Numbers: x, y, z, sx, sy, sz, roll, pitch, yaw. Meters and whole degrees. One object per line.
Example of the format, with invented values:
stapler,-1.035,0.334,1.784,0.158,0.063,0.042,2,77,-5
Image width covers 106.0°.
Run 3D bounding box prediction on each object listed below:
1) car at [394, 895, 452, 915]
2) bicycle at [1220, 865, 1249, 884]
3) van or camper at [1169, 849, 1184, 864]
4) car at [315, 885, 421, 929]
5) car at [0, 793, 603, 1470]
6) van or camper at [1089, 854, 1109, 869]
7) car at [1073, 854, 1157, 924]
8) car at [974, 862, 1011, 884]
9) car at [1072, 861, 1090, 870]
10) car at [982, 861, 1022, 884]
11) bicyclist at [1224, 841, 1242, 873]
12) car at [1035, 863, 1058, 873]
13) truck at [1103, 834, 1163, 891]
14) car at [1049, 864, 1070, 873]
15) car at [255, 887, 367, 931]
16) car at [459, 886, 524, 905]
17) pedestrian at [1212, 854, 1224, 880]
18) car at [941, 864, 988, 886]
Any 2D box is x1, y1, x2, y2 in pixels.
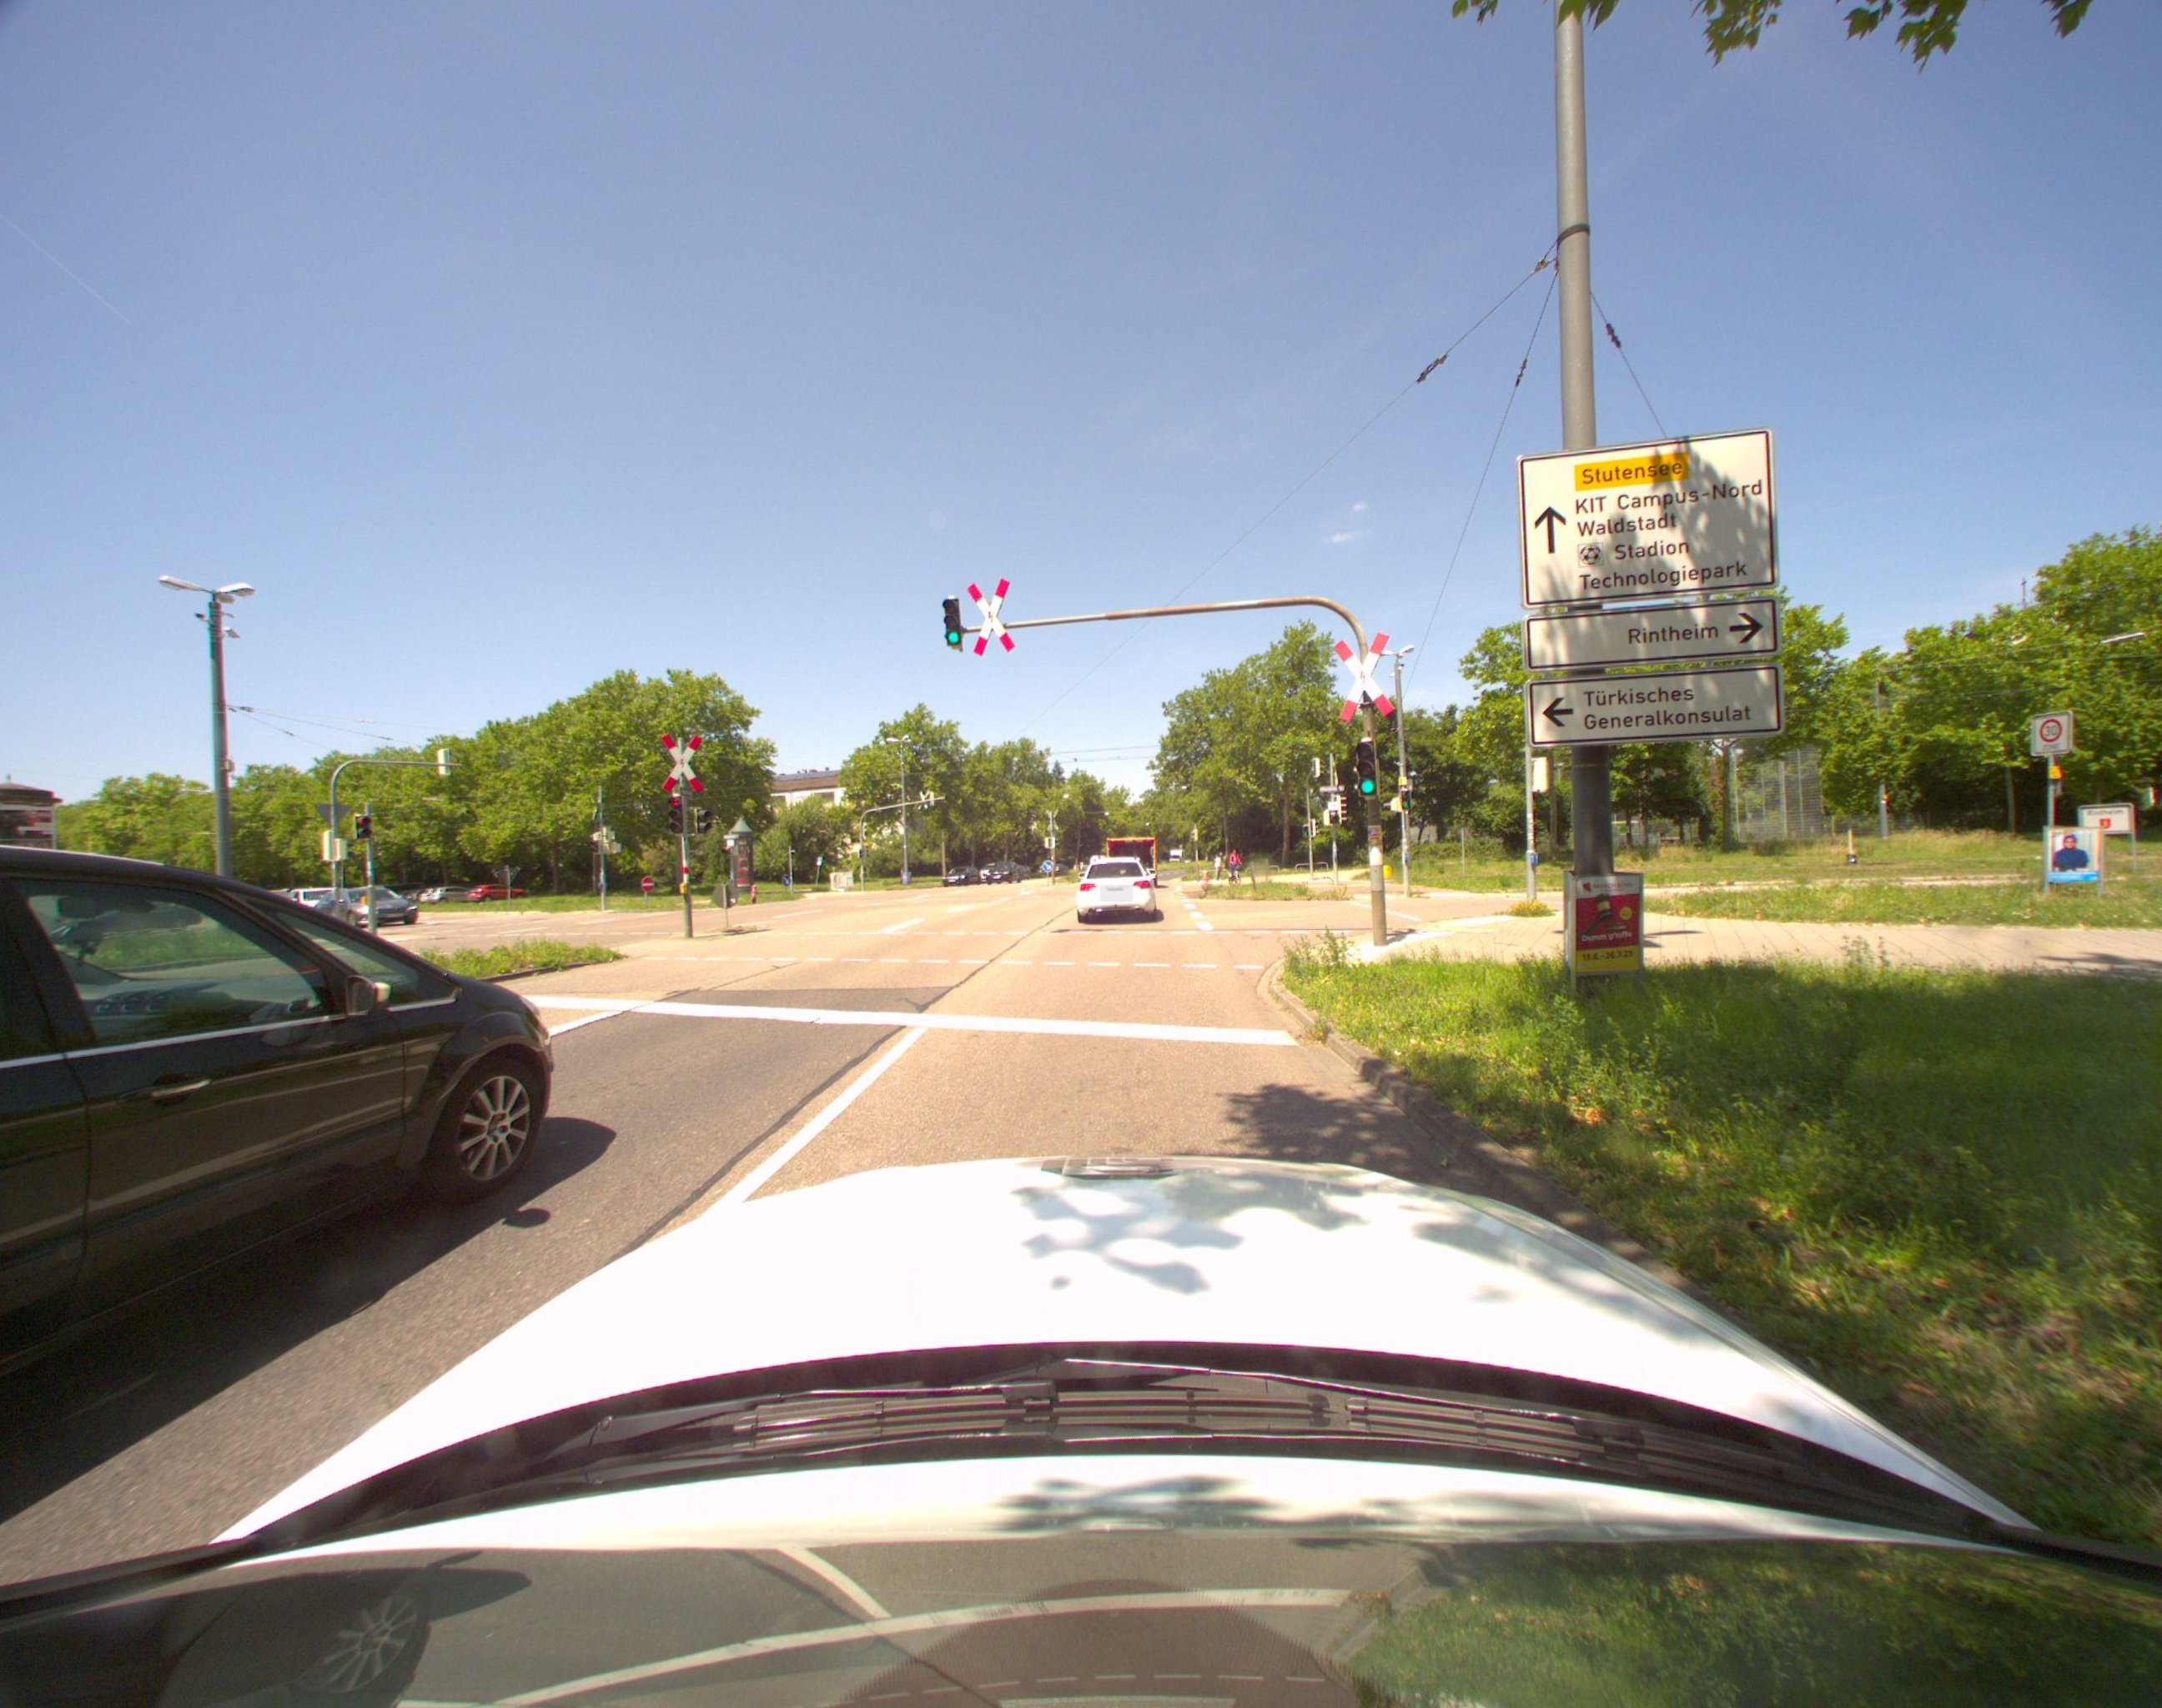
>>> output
car,-56.506,4.360,70.020,1.481,1.397,3.571,-3,0,26
bicycle,7.562,1.004,40.167,0.589,0.895,1.799,-2,-1,-19
van or camper,22.213,0.494,188.916,2.642,3.331,5.520,-2,-1,13
car,-26.377,1.940,30.106,3.941,1.457,1.776,-3,-1,31
car,-3.738,0.745,2.321,1.847,1.755,4.650,-2,0,2
van or camper,3.368,1.306,150.959,2.164,2.587,5.335,-3,-1,20
car,0.816,0.739,18.978,1.755,1.445,3.619,-1,0,3
car,-7.367,1.563,68.159,1.776,1.615,4.418,-2,0,11
car,0.083,2.010,142.340,1.866,1.474,4.019,-2,-1,19
car,-5.739,1.334,59.582,1.898,1.539,4.308,-2,0,8
bicyclist,7.497,0.137,40.256,0.579,1.556,0.669,-2,-1,-19
car,-5.447,2.120,127.544,1.864,1.393,4.023,-2,-1,25
truck,2.778,0.434,41.414,2.497,2.559,7.618,-1,-1,7
car,-3.426,2.348,132.776,1.865,1.376,4.022,-2,-1,23
car,-32.115,2.260,33.967,4.404,1.604,2.230,-3,0,31
car,-48.986,3.459,67.715,1.441,1.397,4.161,-1,-1,26
pedestrian,7.914,0.728,47.024,0.549,1.484,0.632,-2,-1,15
car,-8.690,1.529,61.134,1.936,1.440,4.762,-2,0,12
